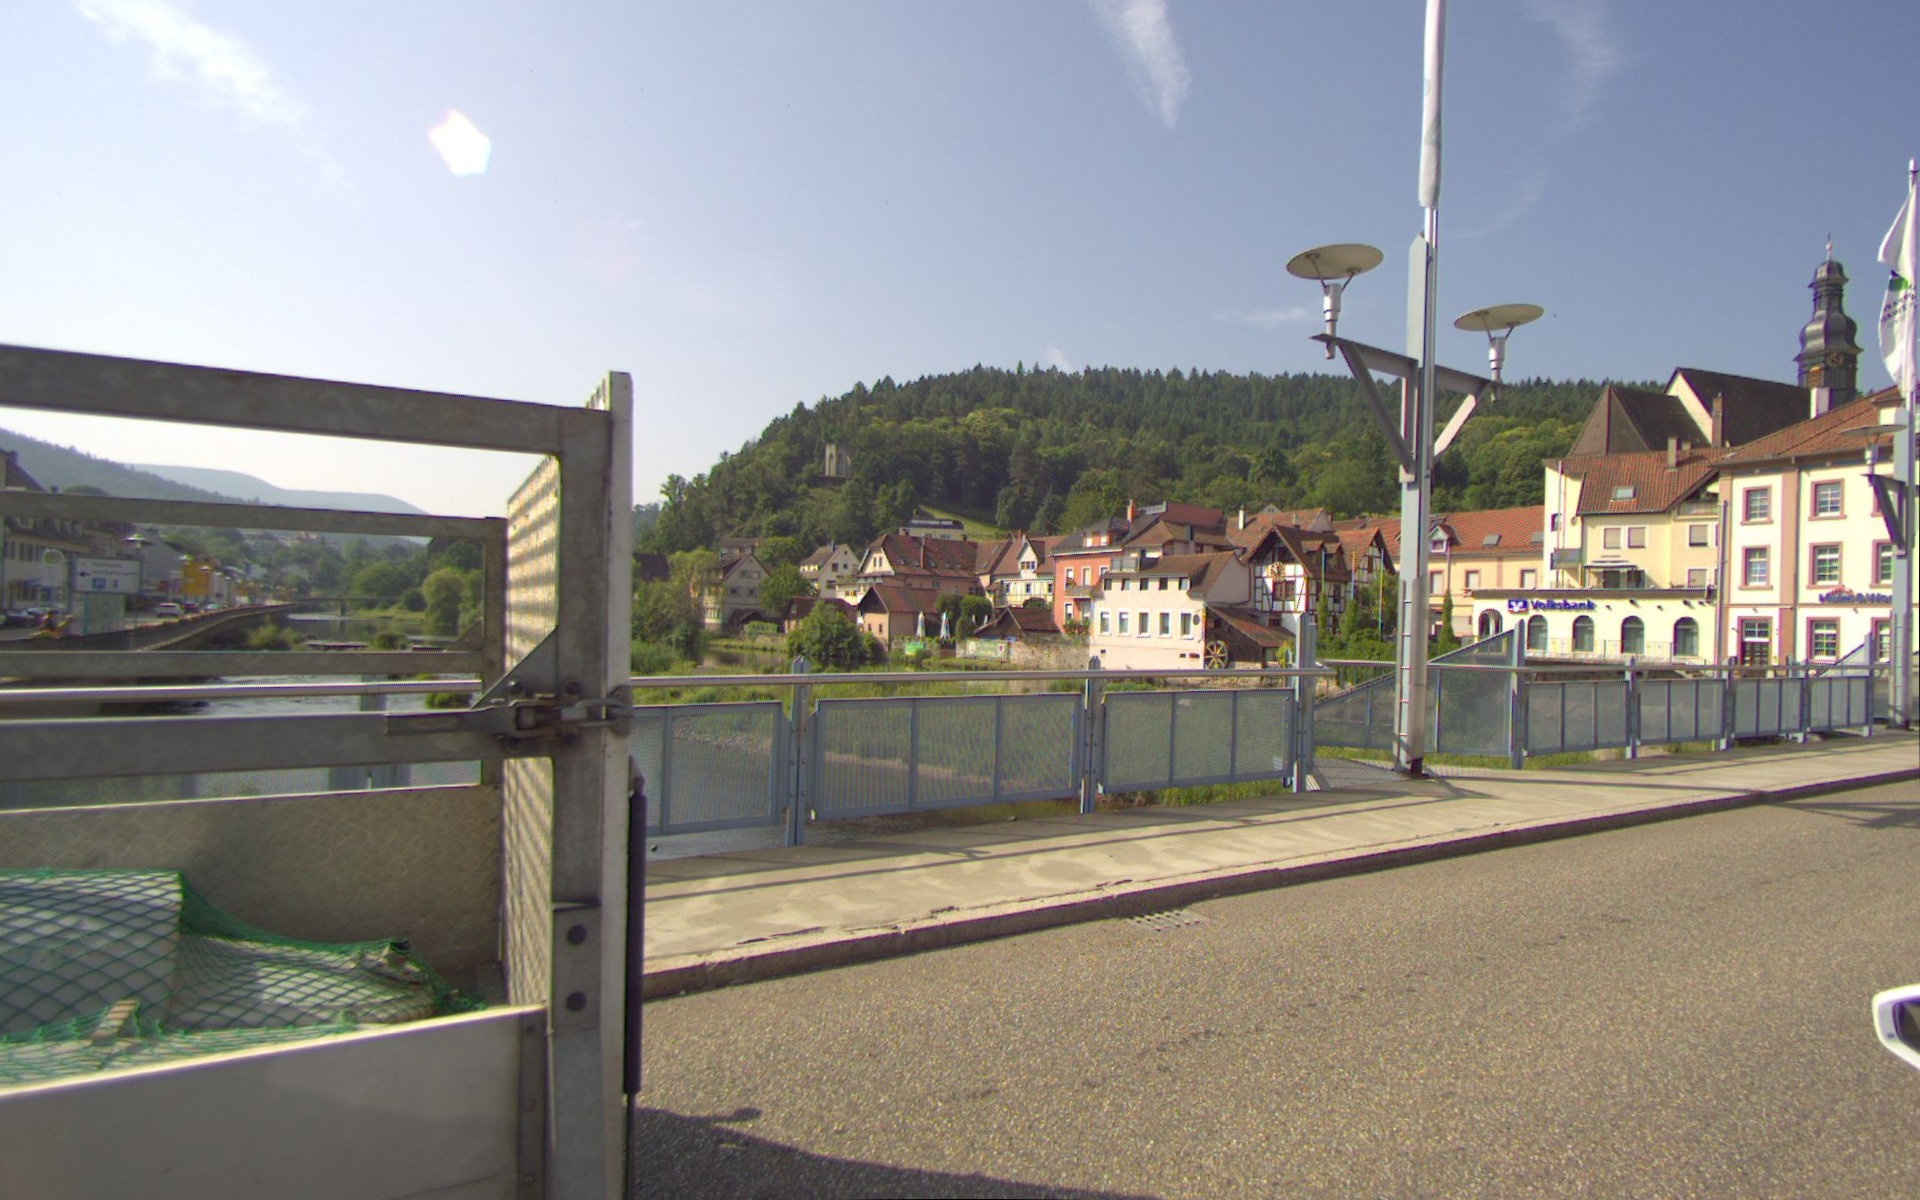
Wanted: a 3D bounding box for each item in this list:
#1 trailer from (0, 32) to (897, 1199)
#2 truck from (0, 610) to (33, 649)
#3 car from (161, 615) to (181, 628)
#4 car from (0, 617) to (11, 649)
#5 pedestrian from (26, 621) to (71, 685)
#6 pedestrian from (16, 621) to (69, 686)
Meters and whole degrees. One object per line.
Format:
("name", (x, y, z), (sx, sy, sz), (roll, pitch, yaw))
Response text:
("trailer", (-3.111, 0.498, 0.863), (5.570, 1.852, 2.599), (1, -1, -30))
("truck", (-63.298, 1.945, 66.684), (1.734, 2.500, 4.619), (1, -1, -33))
("car", (-89.663, 2.434, 114.138), (1.502, 1.467, 3.247), (1, -1, -33))
("car", (-60.267, 2.059, 62.028), (1.734, 1.960, 3.545), (1, -1, -33))
("pedestrian", (-25.281, 1.466, 27.872), (0.783, 1.728, 0.488), (2, -1, -31))
("pedestrian", (-24.962, 1.441, 27.344), (0.859, 1.728, 0.771), (2, -1, -30))
